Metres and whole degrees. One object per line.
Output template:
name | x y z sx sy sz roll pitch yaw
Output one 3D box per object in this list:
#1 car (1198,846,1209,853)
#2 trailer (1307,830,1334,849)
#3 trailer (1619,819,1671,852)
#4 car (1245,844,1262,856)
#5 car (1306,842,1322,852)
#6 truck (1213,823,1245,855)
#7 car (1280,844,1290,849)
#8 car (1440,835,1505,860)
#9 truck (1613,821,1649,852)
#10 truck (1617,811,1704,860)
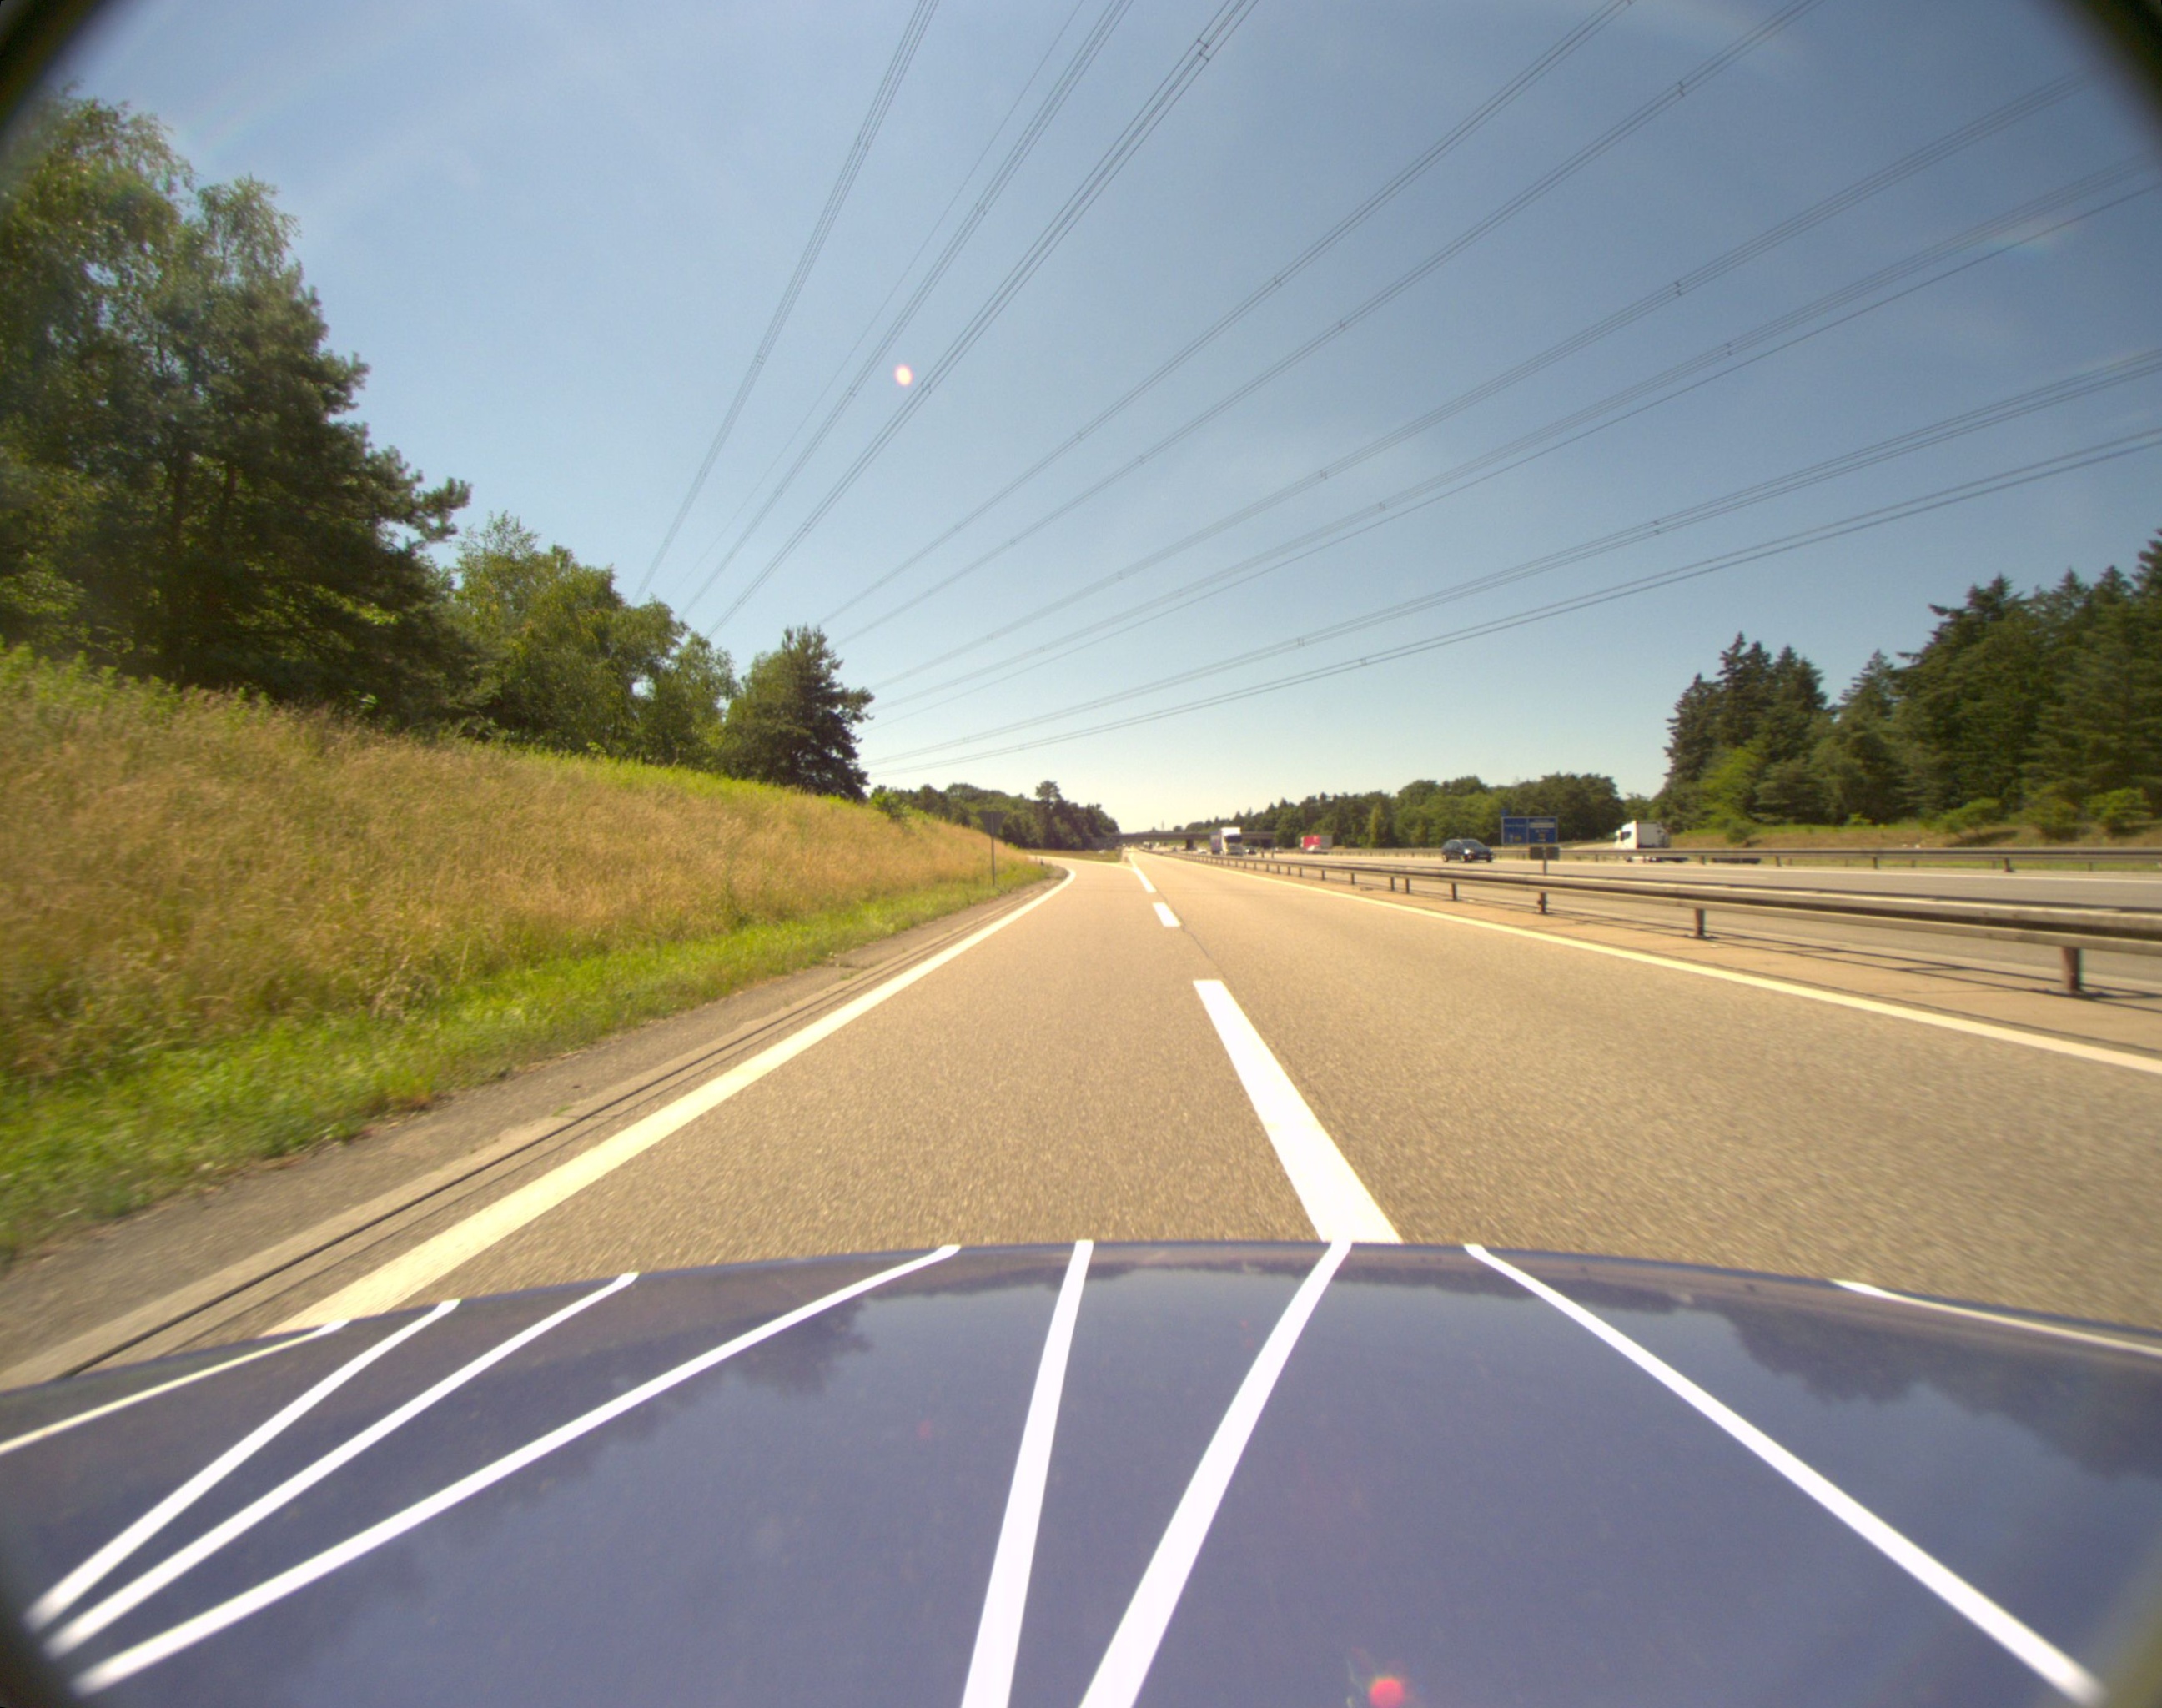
car | 30.009 -1.175 186.305 1.998 1.559 4.000 -1 0 1
trailer | 49.784 -2.951 158.311 2.547 3.775 13.746 -1 0 5
trailer | 68.386 -2.191 92.326 2.775 3.776 8.950 -1 0 21
car | 27.632 -0.653 121.910 1.998 1.707 4.001 -2 1 4
car | 43.762 -1.313 142.689 1.776 1.674 4.824 -1 2 3
truck | 20.393 -1.993 105.133 2.709 4.035 11.049 -1 0 3
car | 67.581 -2.381 251.764 1.998 1.641 4.000 -1 0 1
car | 24.883 -0.425 48.502 1.998 1.467 4.242 -2 1 1
truck | 70.393 -2.206 97.336 2.770 3.775 4.006 -1 0 21
truck | 54.305 -1.795 71.459 2.866 4.321 7.531 -1 2 5
